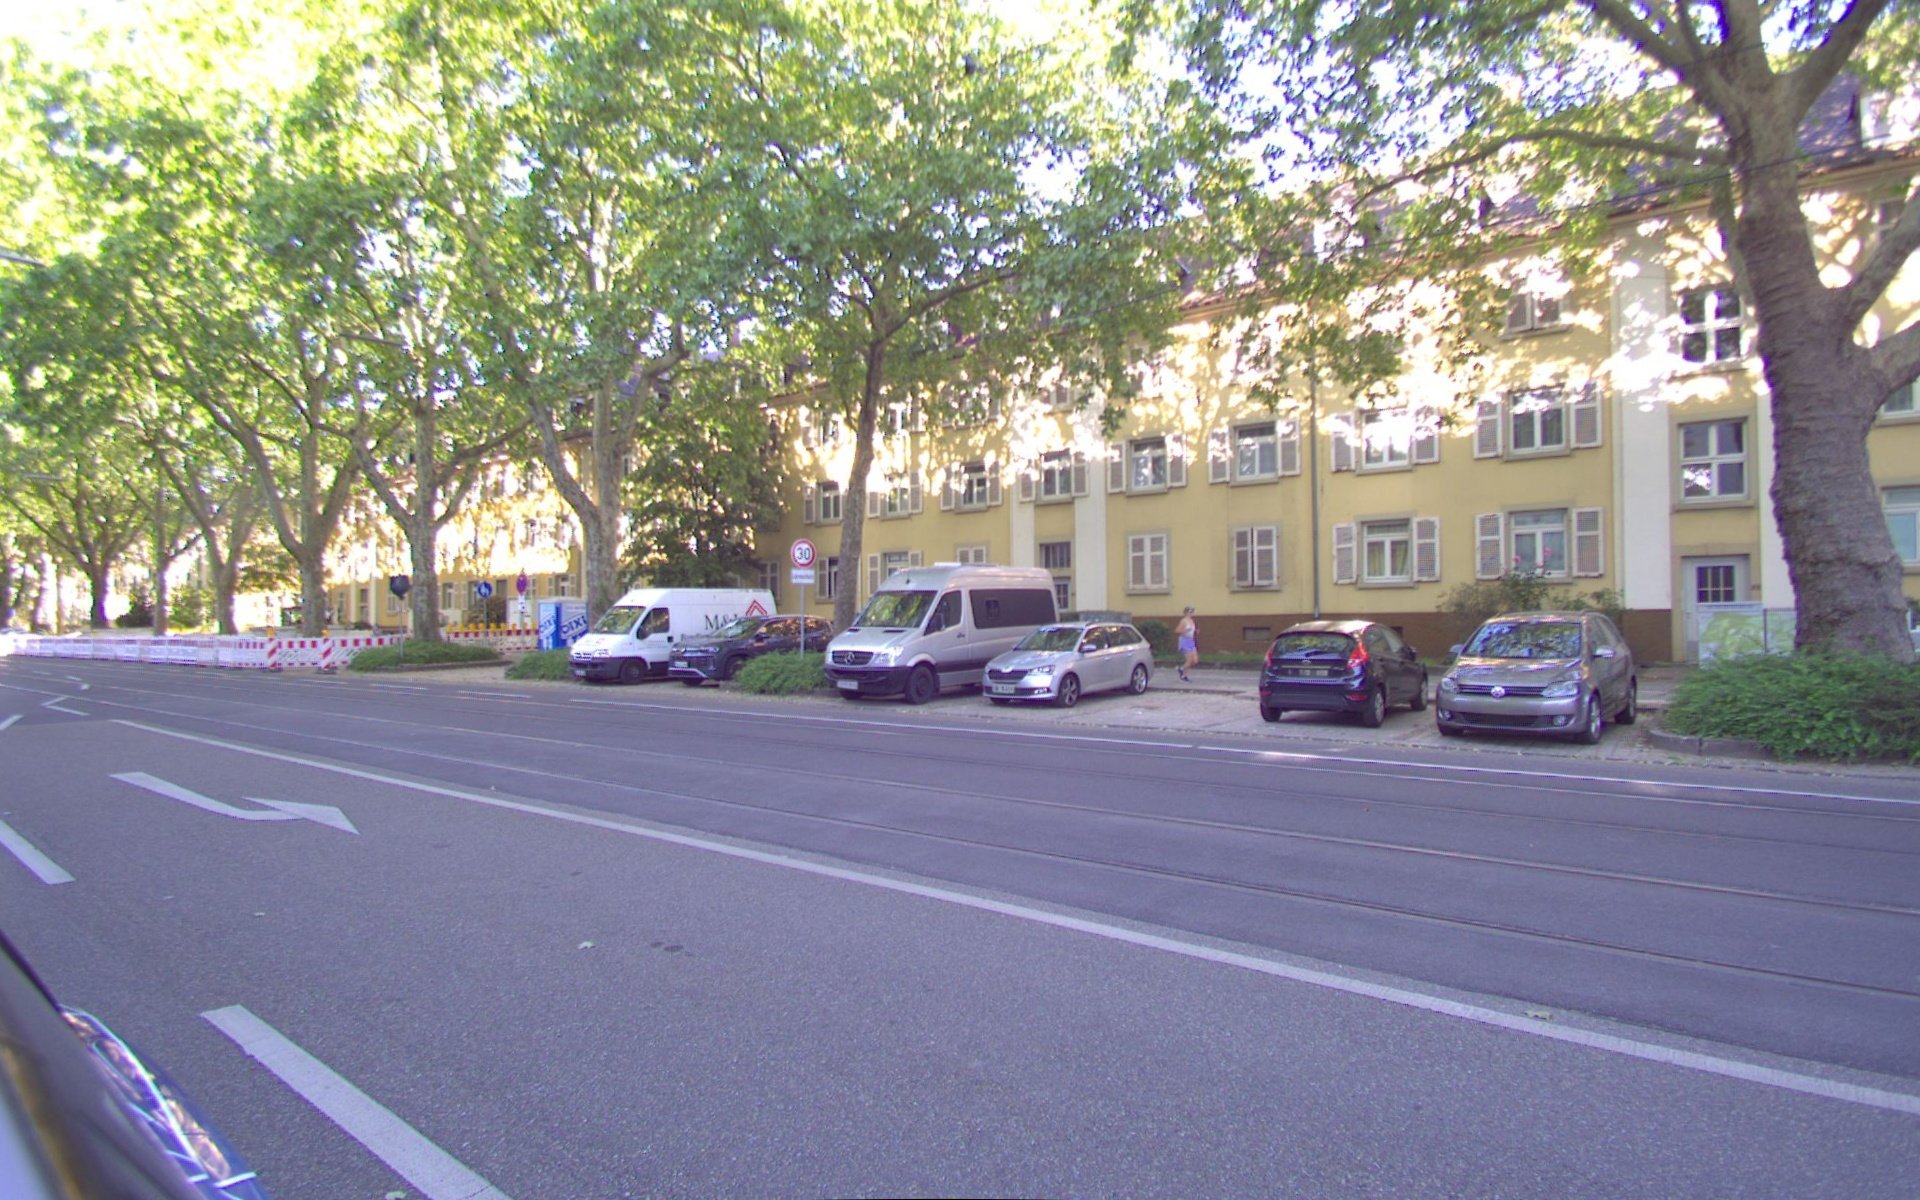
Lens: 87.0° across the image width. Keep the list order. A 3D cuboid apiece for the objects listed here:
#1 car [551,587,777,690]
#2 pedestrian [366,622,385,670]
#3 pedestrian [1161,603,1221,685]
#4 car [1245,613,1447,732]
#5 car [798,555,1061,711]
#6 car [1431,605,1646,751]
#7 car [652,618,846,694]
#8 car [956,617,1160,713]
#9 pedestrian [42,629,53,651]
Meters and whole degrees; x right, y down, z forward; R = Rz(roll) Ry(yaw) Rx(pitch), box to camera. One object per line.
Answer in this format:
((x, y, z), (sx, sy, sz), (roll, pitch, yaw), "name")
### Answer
((-7.562, 0.964, 26.375), (2.222, 2.394, 5.336), (-2, -2, 40), "car")
((-21.963, 1.726, 38.033), (0.573, 1.759, 0.654), (-1, 0, -32), "pedestrian")
((4.836, 0.898, 21.196), (0.763, 1.673, 0.956), (-1, 0, -44), "pedestrian")
((5.965, 1.001, 15.420), (1.671, 1.509, 3.756), (-2, -1, 41), "car")
((-0.428, 0.608, 20.449), (2.221, 2.702, 5.596), (-2, -1, 38), "car")
((7.743, 0.898, 13.369), (1.672, 1.592, 3.928), (-2, -1, 41), "car")
((-4.980, 1.275, 24.449), (1.772, 1.664, 4.570), (-2, -2, 38), "car")
((1.911, 1.121, 18.837), (1.773, 1.509, 4.031), (-2, -1, 41), "car")
((-80.800, 3.522, 89.630), (0.722, 1.900, 0.665), (-1, 0, -45), "pedestrian")
